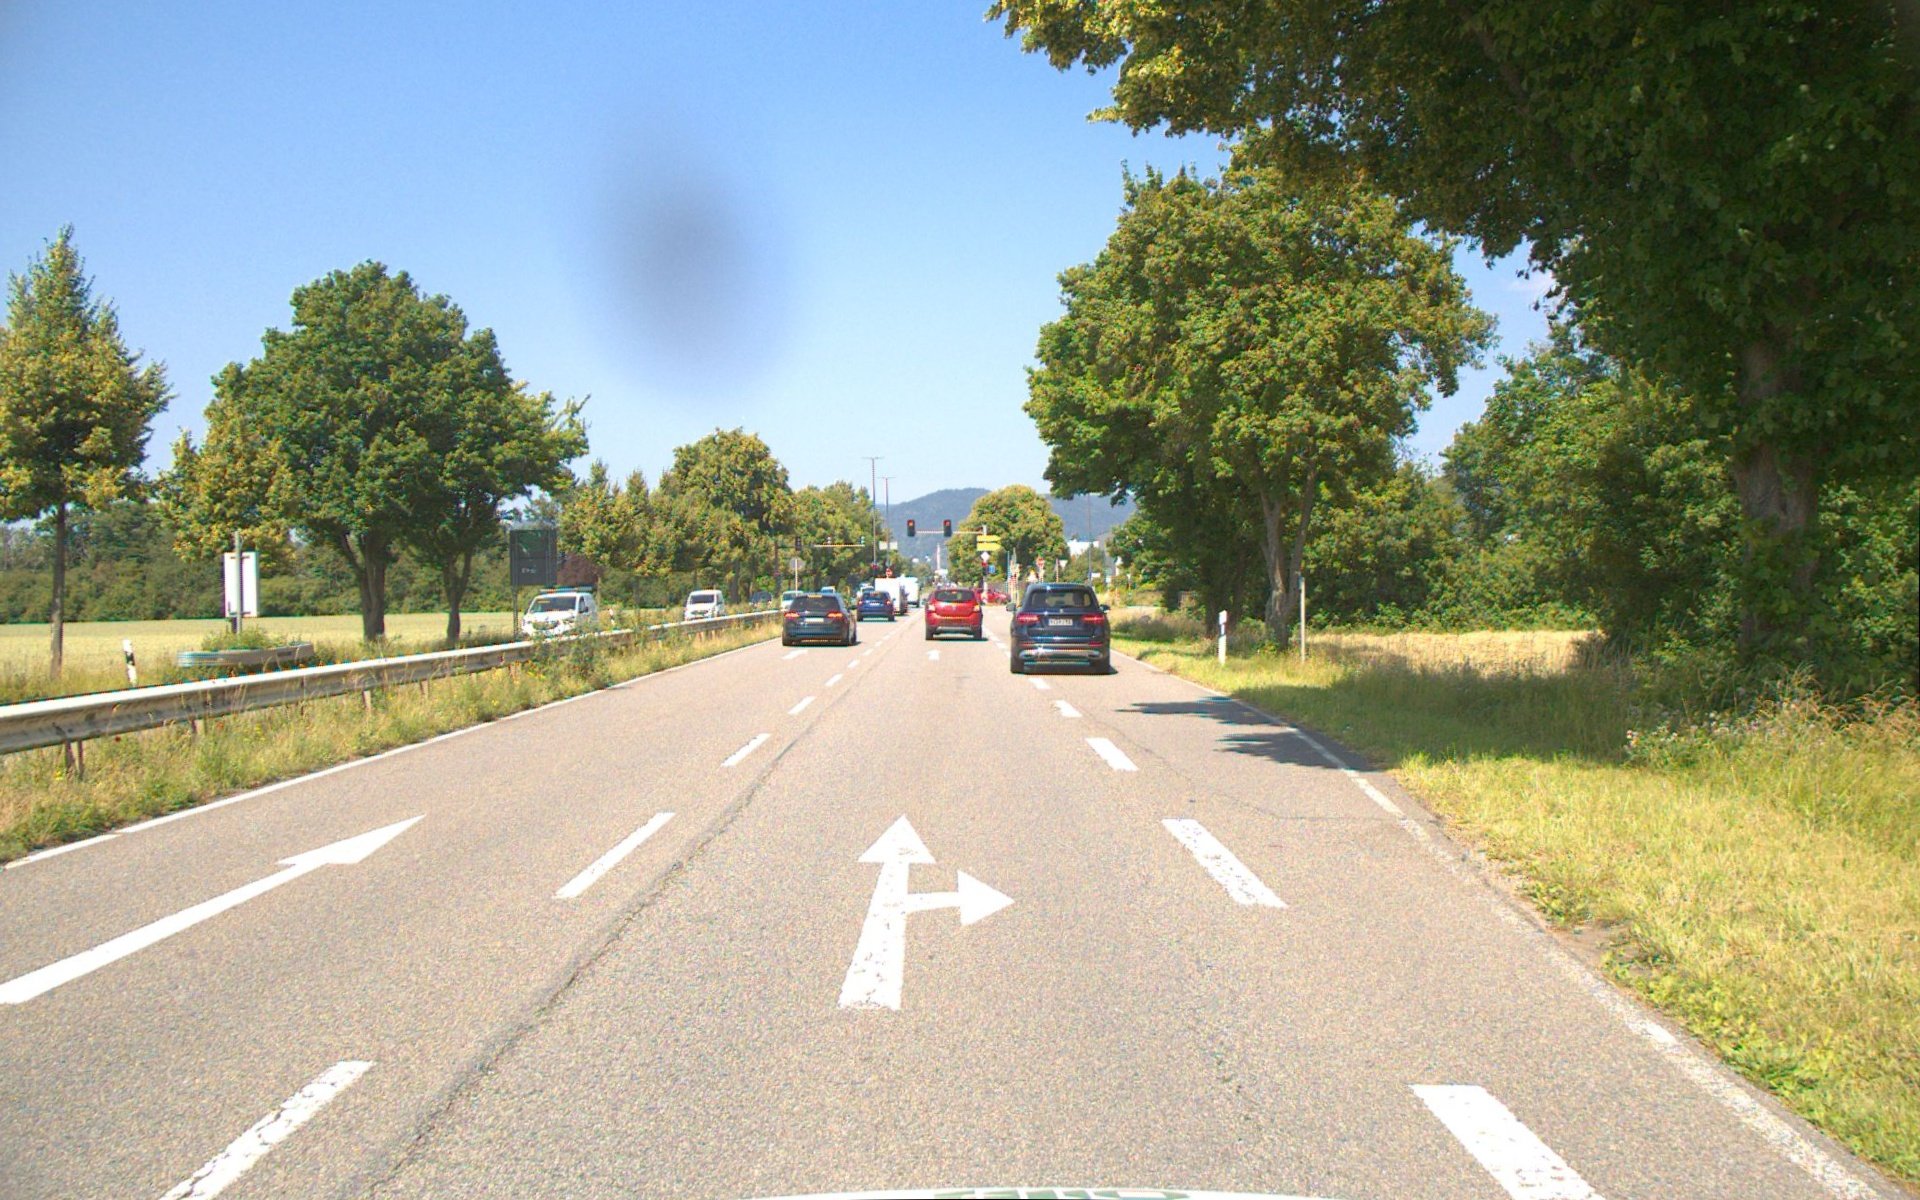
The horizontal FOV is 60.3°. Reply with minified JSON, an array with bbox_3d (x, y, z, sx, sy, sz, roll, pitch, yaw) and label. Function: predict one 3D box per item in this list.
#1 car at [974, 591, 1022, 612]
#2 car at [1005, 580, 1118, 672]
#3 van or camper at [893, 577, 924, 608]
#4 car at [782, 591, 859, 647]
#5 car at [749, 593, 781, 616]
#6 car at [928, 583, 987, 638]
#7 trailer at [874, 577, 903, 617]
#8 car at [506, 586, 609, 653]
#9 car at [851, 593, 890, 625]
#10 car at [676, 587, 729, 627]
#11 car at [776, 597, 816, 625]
[{"bbox_3d":[3.391,0.119,147.356,3.902,1.797,1.936,-2,0,12],"label":"car"},{"bbox_3d":[1.855,0.444,31.505,1.952,1.645,4.340,0,0,1],"label":"car"},{"bbox_3d":[-4.016,-0.616,130.104,2.134,2.343,4.827,-2,0,0],"label":"van or camper"},{"bbox_3d":[-3.726,0.482,44.853,1.705,1.404,4.455,1,0,0],"label":"car"},{"bbox_3d":[-14.394,0.324,122.339,1.953,1.691,4.479,-1,0,-1],"label":"car"},{"bbox_3d":[-0.045,0.303,50.034,1.713,1.603,3.677,0,0,1],"label":"car"},{"bbox_3d":[-4.063,-0.173,94.525,1.470,2.211,4.173,-1,0,-1],"label":"trailer"},{"bbox_3d":[-13.044,0.603,53.885,1.995,2.049,4.534,-1,0,3],"label":"car"},{"bbox_3d":[-4.246,0.417,78.825,1.682,1.491,4.029,0,0,-1],"label":"car"},{"bbox_3d":[-13.959,0.352,89.787,1.953,1.994,4.928,-3,0,1],"label":"car"},{"bbox_3d":[-10.151,0.659,102.604,1.953,1.584,4.480,-2,0,0],"label":"car"}]
